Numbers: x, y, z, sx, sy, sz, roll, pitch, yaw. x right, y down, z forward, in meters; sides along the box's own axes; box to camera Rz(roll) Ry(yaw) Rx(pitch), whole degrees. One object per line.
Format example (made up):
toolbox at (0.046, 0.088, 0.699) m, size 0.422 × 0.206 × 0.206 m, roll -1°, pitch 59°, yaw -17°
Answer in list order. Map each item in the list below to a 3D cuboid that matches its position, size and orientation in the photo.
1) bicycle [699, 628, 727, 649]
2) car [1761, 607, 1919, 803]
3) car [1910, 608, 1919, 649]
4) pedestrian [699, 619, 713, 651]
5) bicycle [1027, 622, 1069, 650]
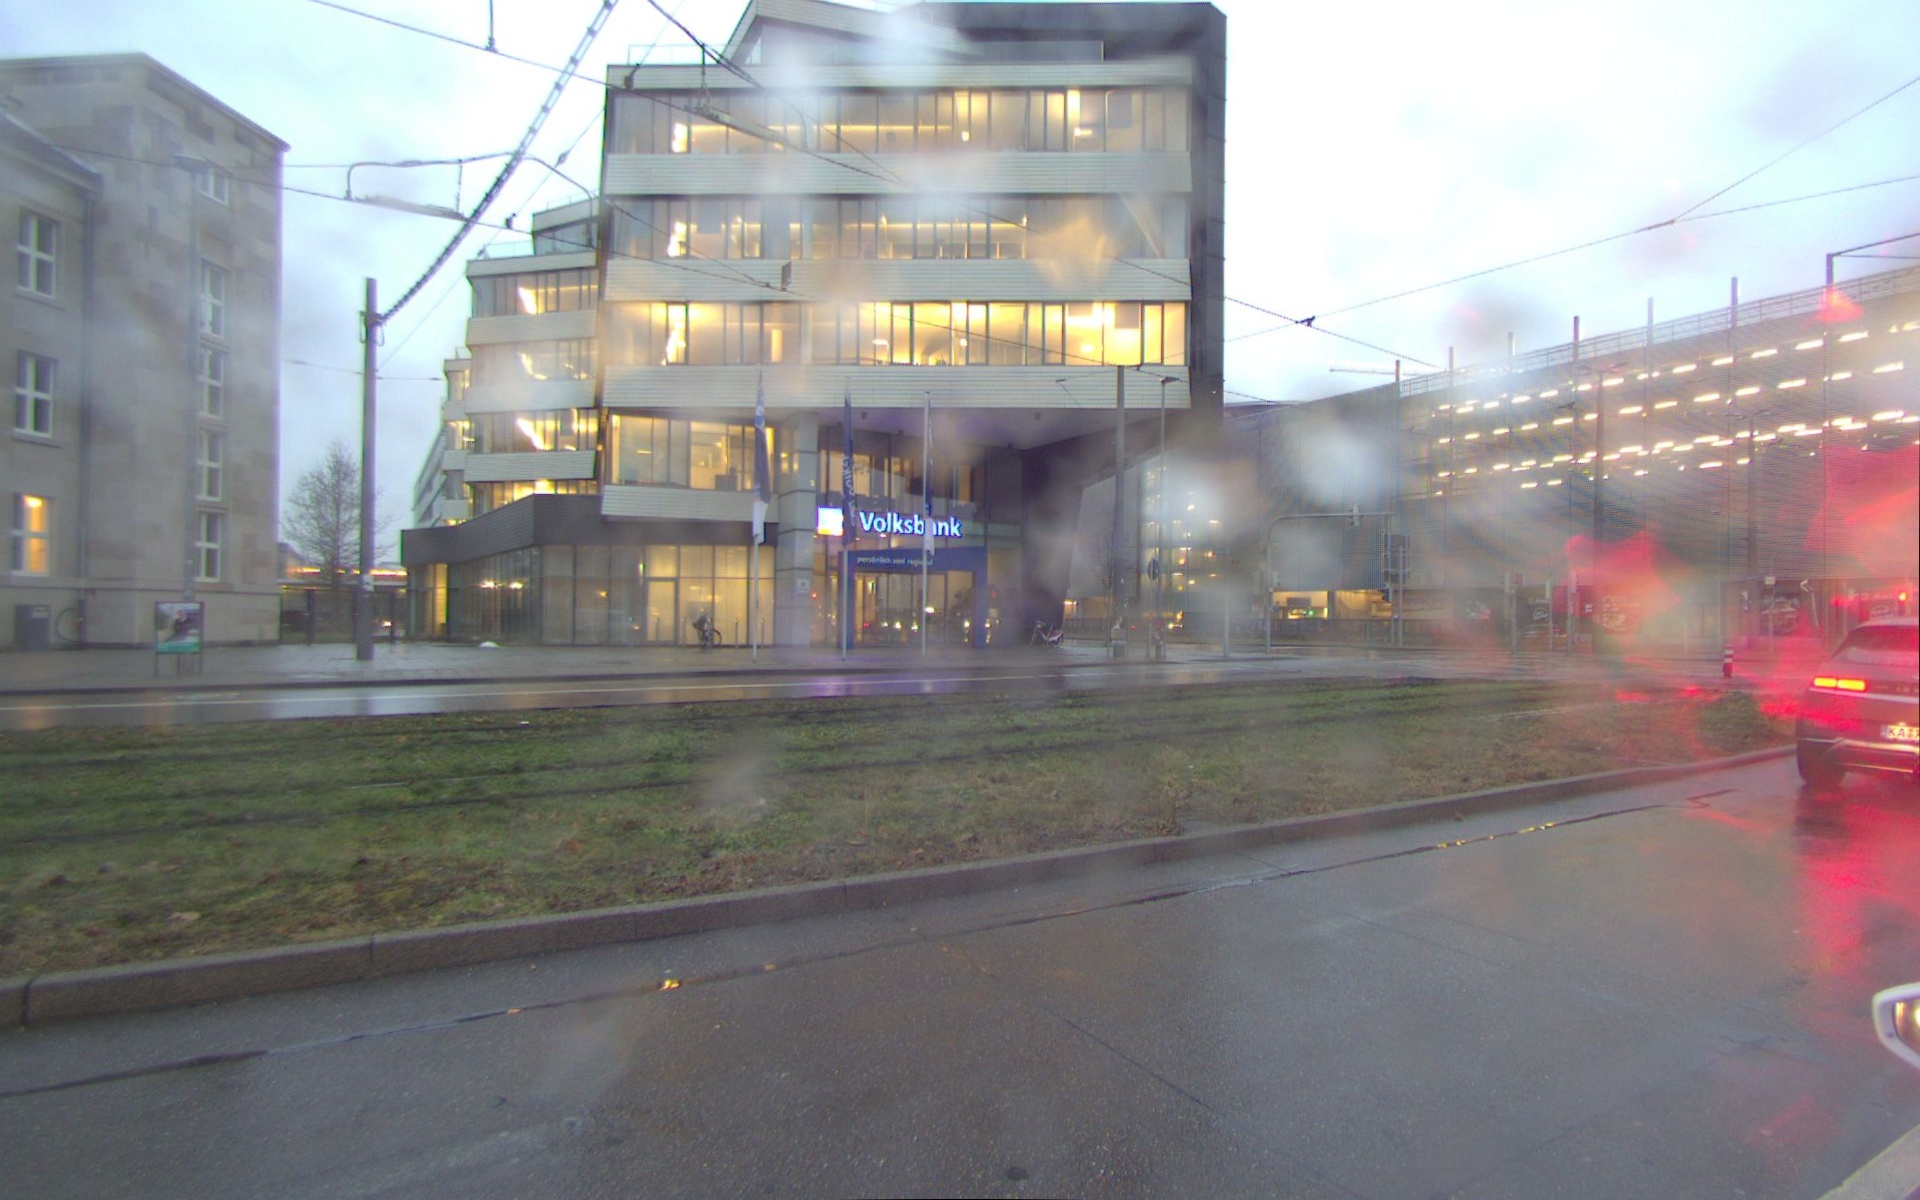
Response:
bicycle at (-8.623, 1.352, 35.069) m, size 0.896 × 0.724 × 0.483 m, roll 1°, pitch -1°, yaw -10°
car at (9.341, 0.900, 9.461) m, size 3.959 × 1.595 × 1.742 m, roll 1°, pitch -1°, yaw -34°
car at (50.264, 1.433, 49.466) m, size 1.782 × 2.027 × 4.806 m, roll 1°, pitch -1°, yaw -36°
pedestrian at (-8.700, 1.190, 34.368) m, size 0.380 × 1.103 × 0.325 m, roll 0°, pitch -1°, yaw 5°
bicycle at (3.521, 1.442, 40.112) m, size 1.588 × 1.105 × 0.553 m, roll 1°, pitch -1°, yaw -23°
